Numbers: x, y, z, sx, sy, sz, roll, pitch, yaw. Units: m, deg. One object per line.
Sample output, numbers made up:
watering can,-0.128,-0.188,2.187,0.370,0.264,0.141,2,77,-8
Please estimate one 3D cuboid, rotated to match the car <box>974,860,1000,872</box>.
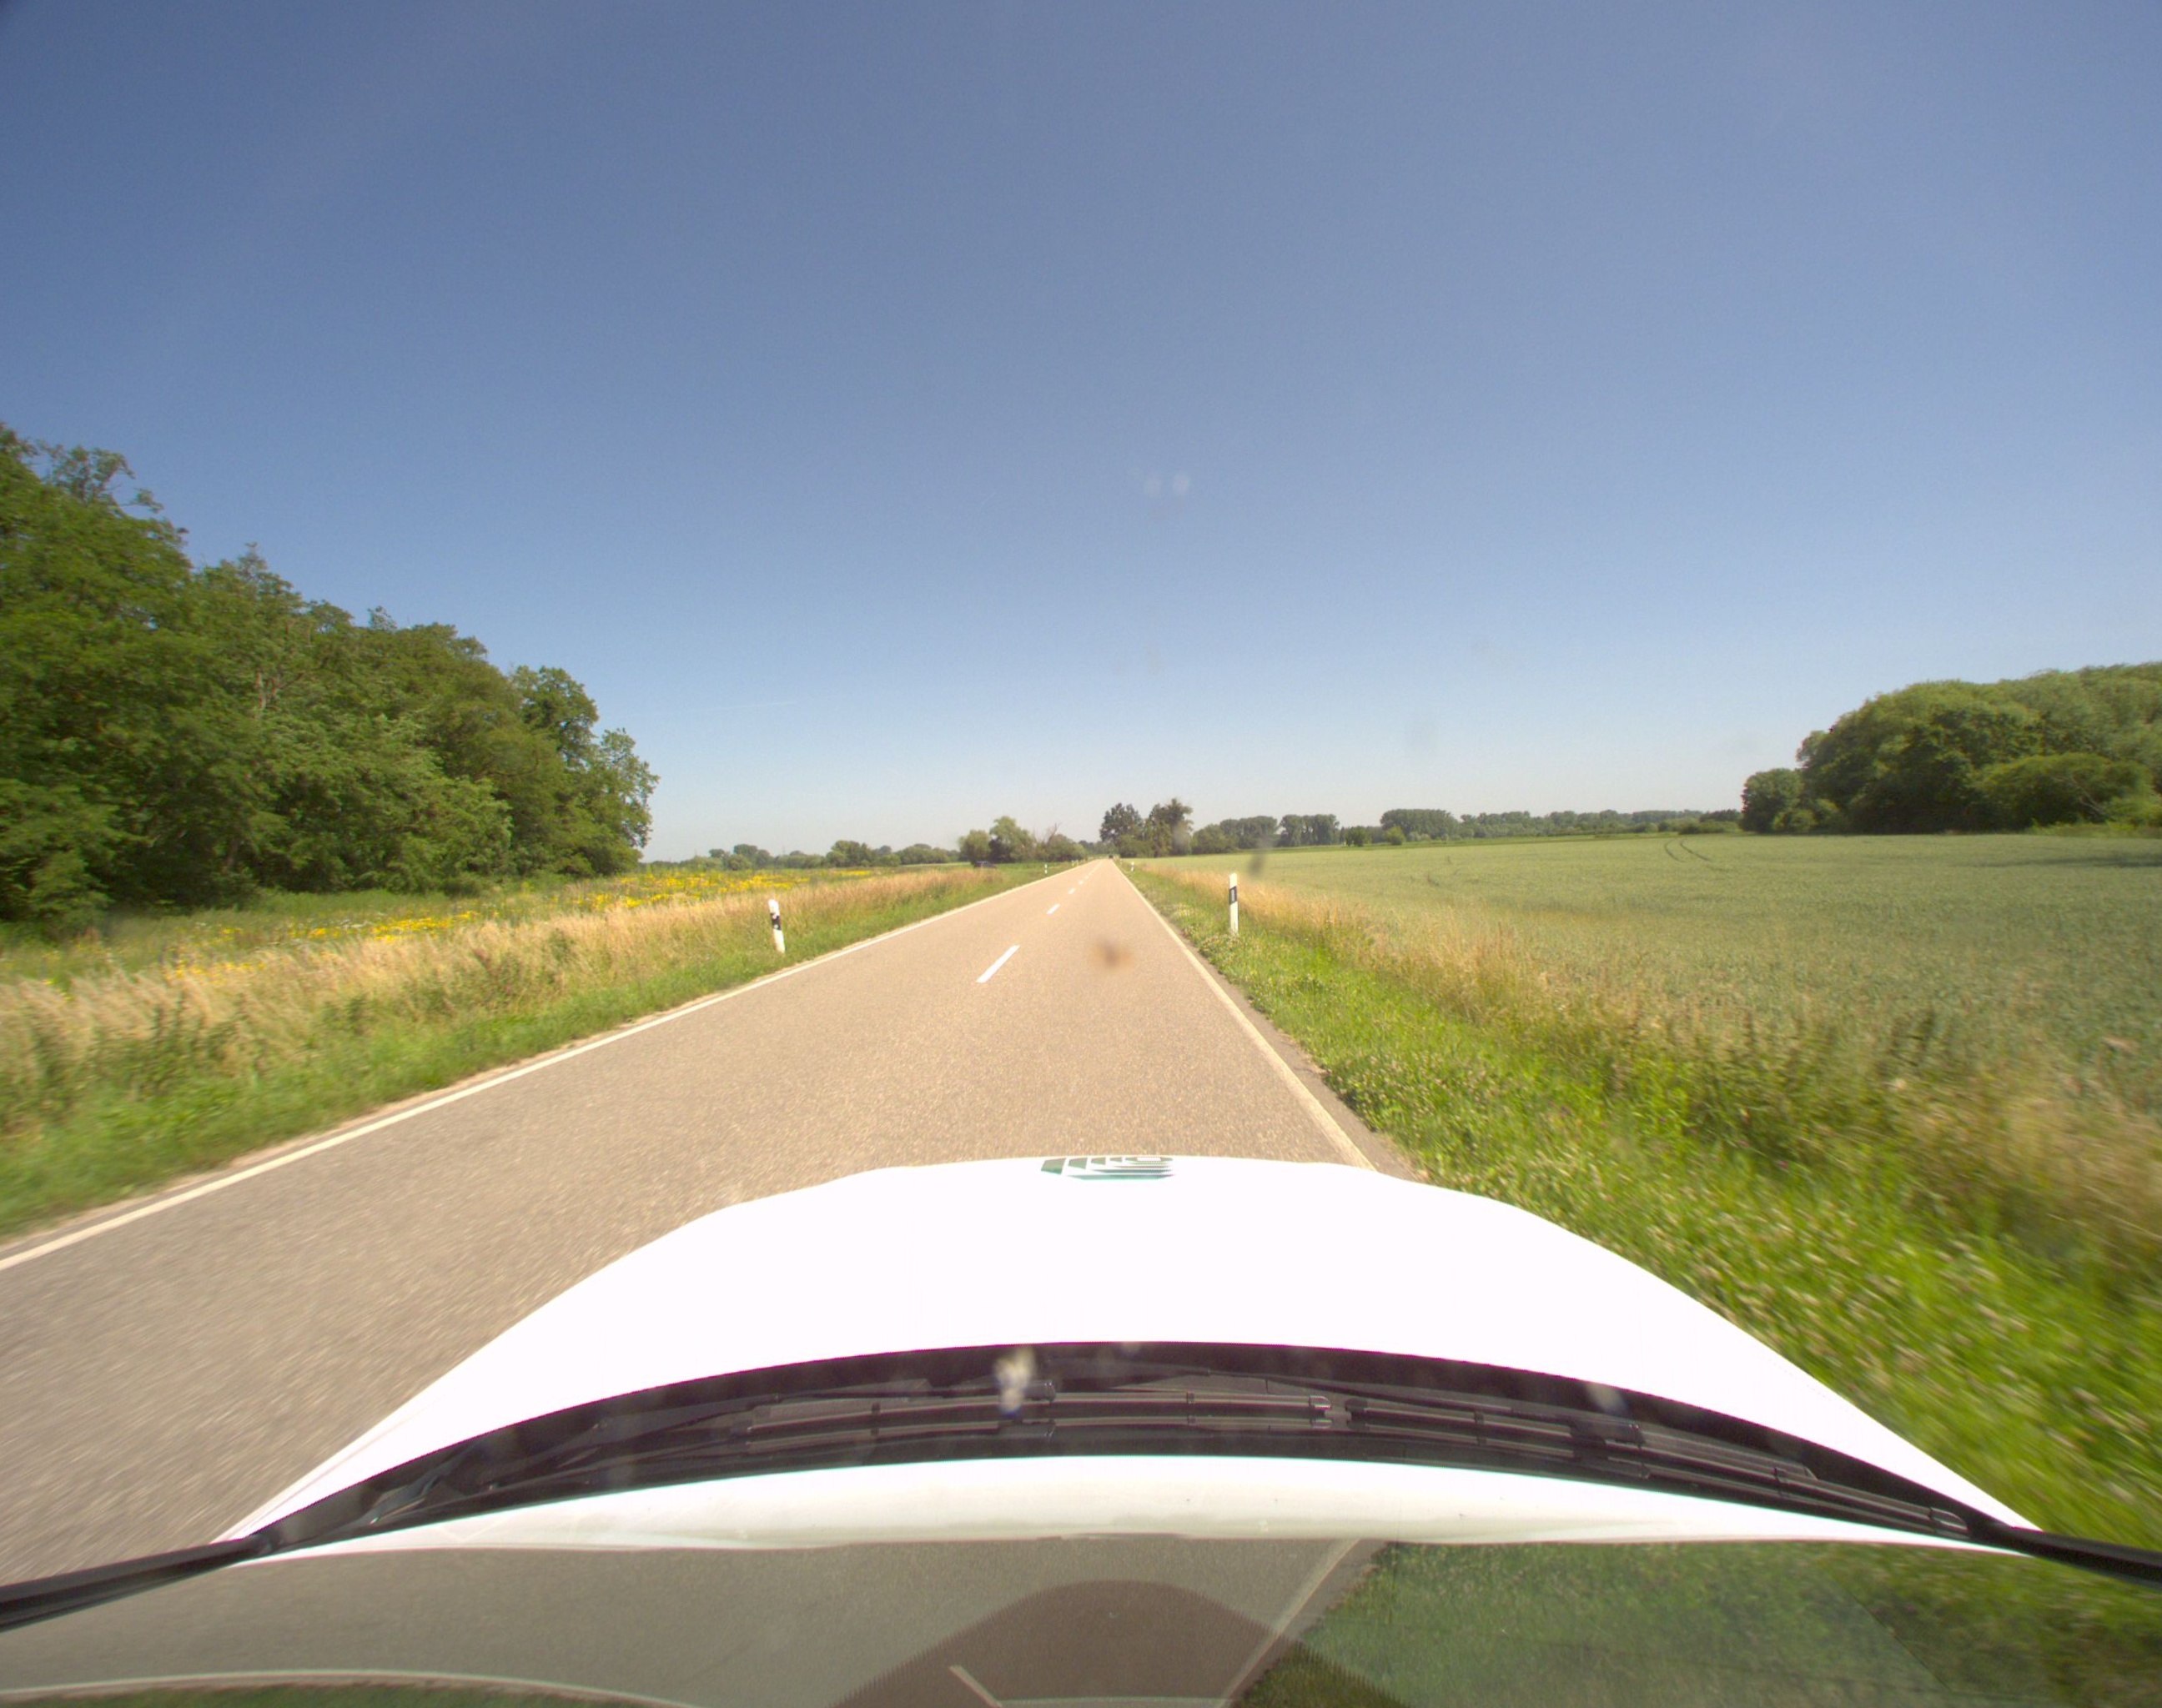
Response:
car,-14.888,1.833,128.834,1.736,1.651,4.557,-3,0,27
